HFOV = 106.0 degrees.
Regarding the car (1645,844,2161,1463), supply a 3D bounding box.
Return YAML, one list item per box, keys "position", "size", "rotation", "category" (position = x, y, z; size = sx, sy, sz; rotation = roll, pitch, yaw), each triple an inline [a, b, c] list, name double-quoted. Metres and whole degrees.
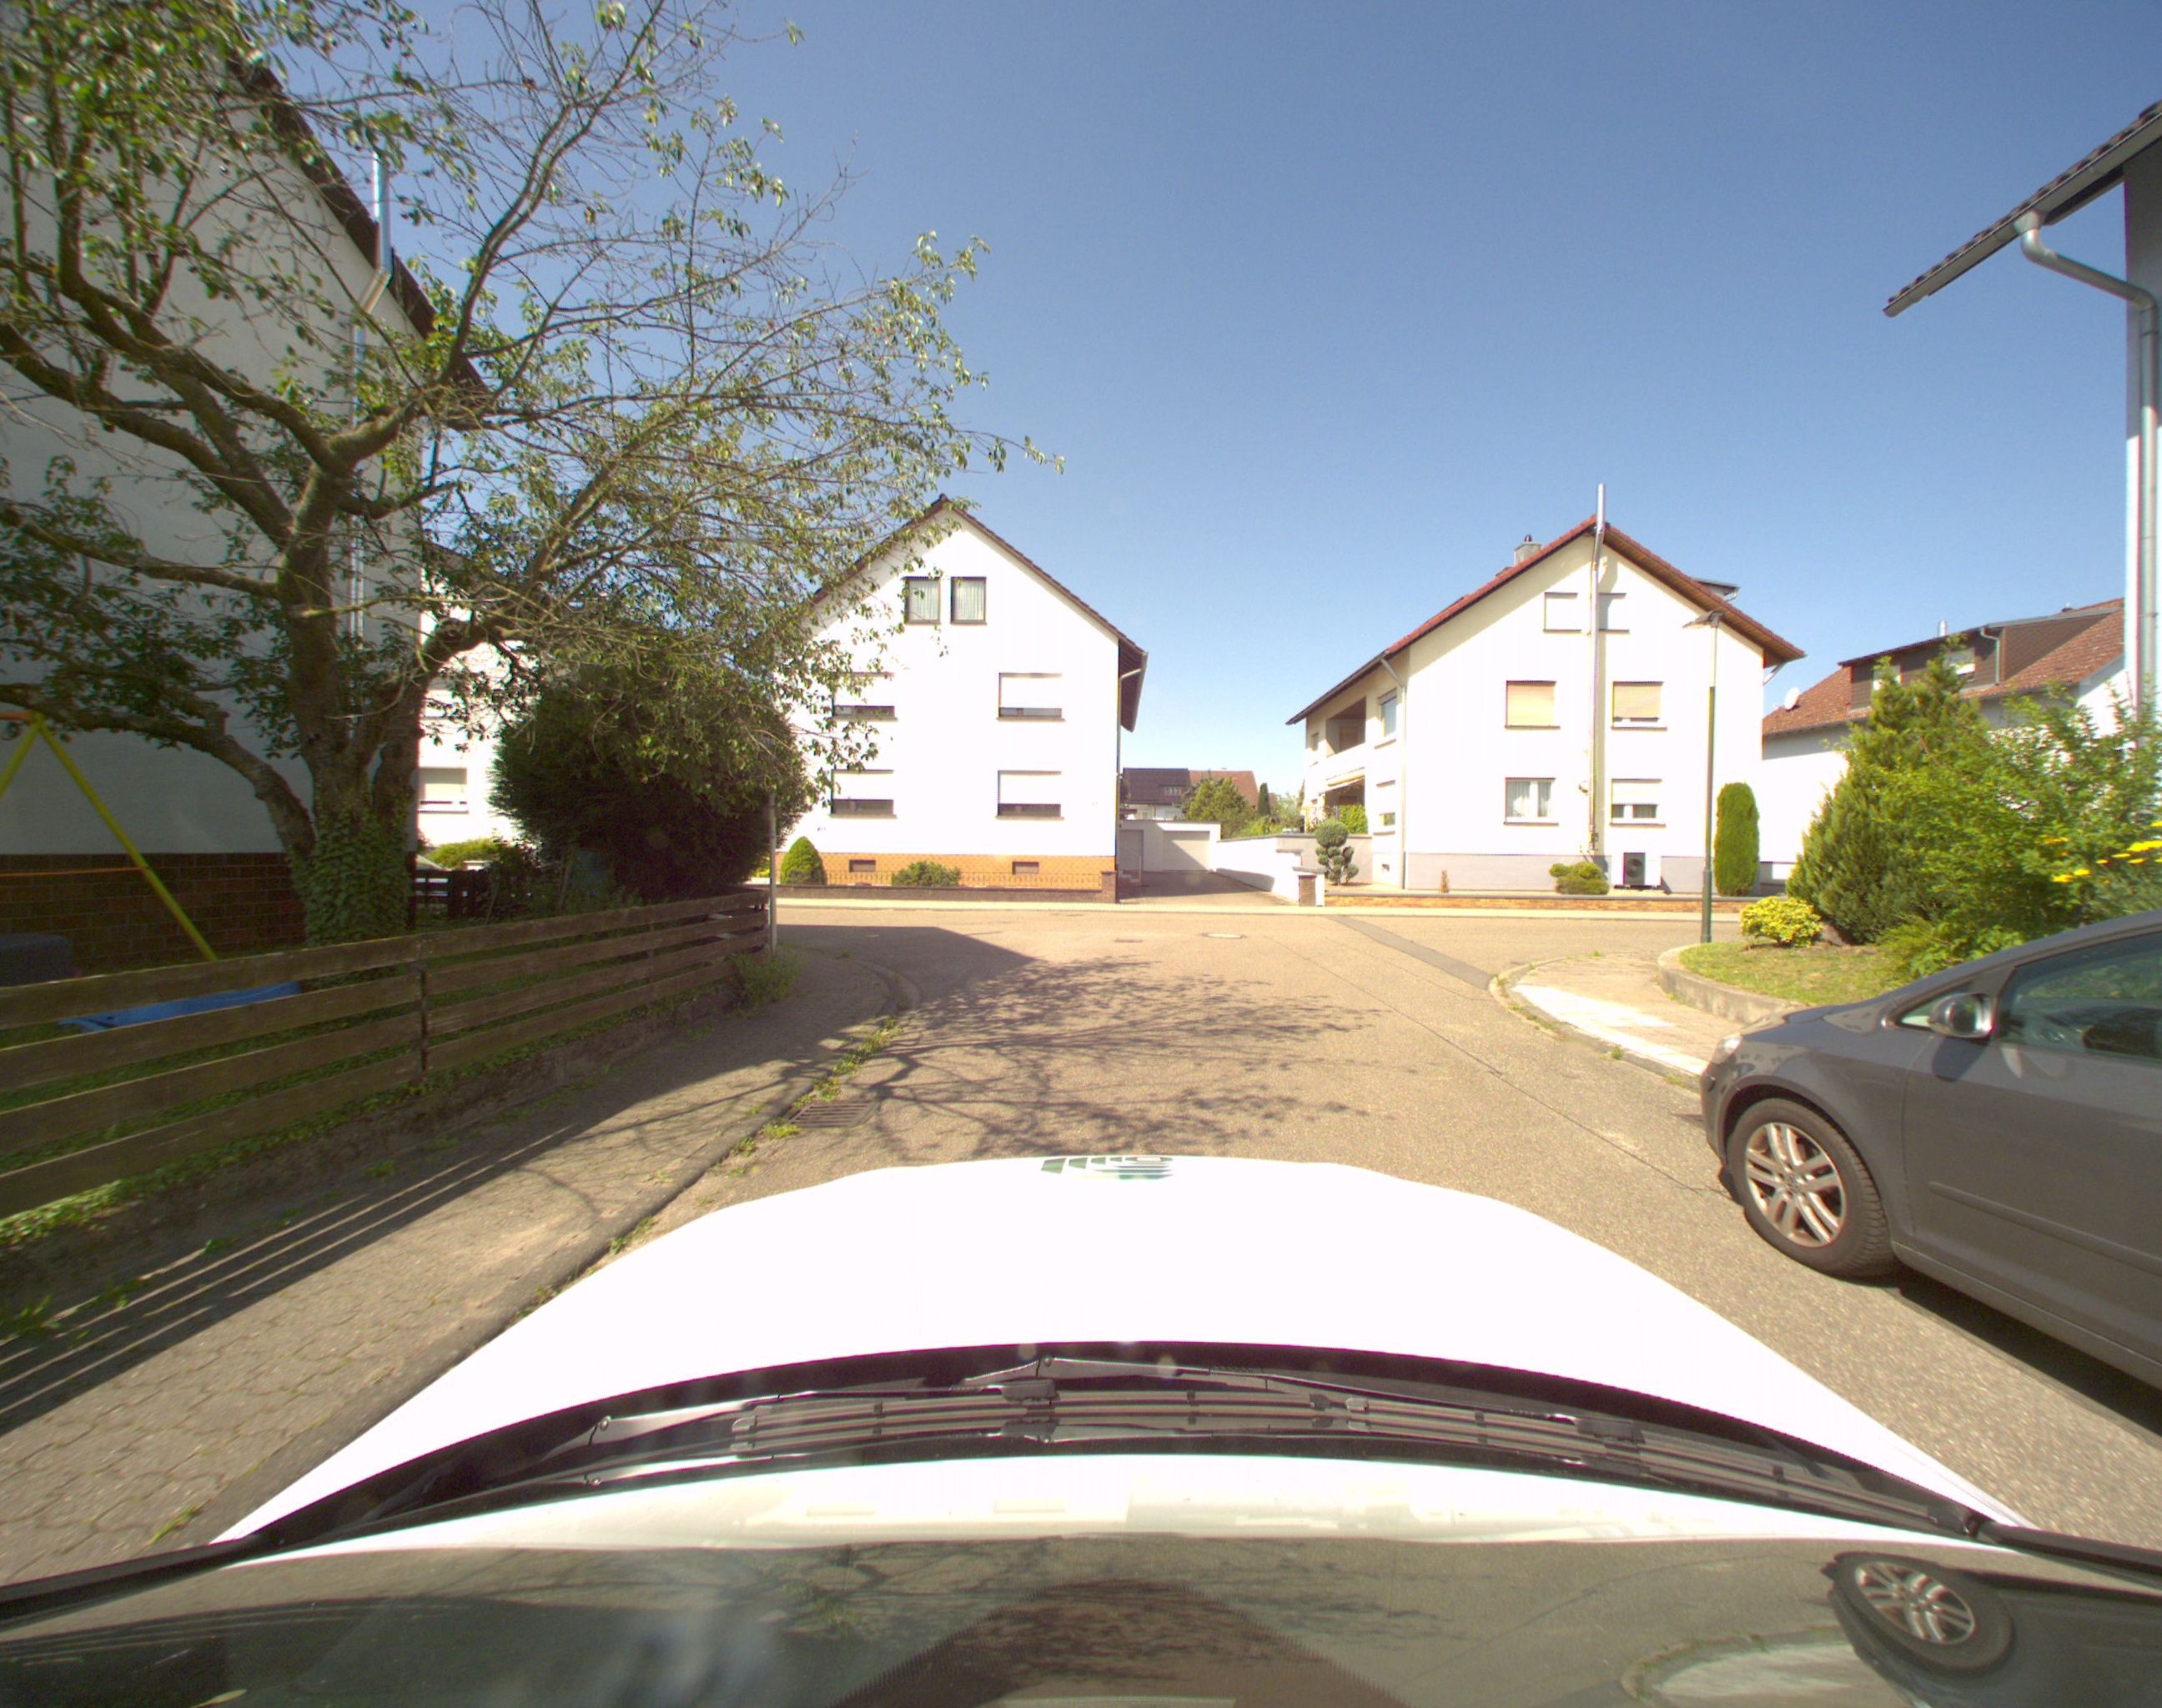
- position: [3.519, 0.753, 1.918]
  size: [1.639, 1.546, 4.048]
  rotation: [0, 0, 1]
  category: "car"
